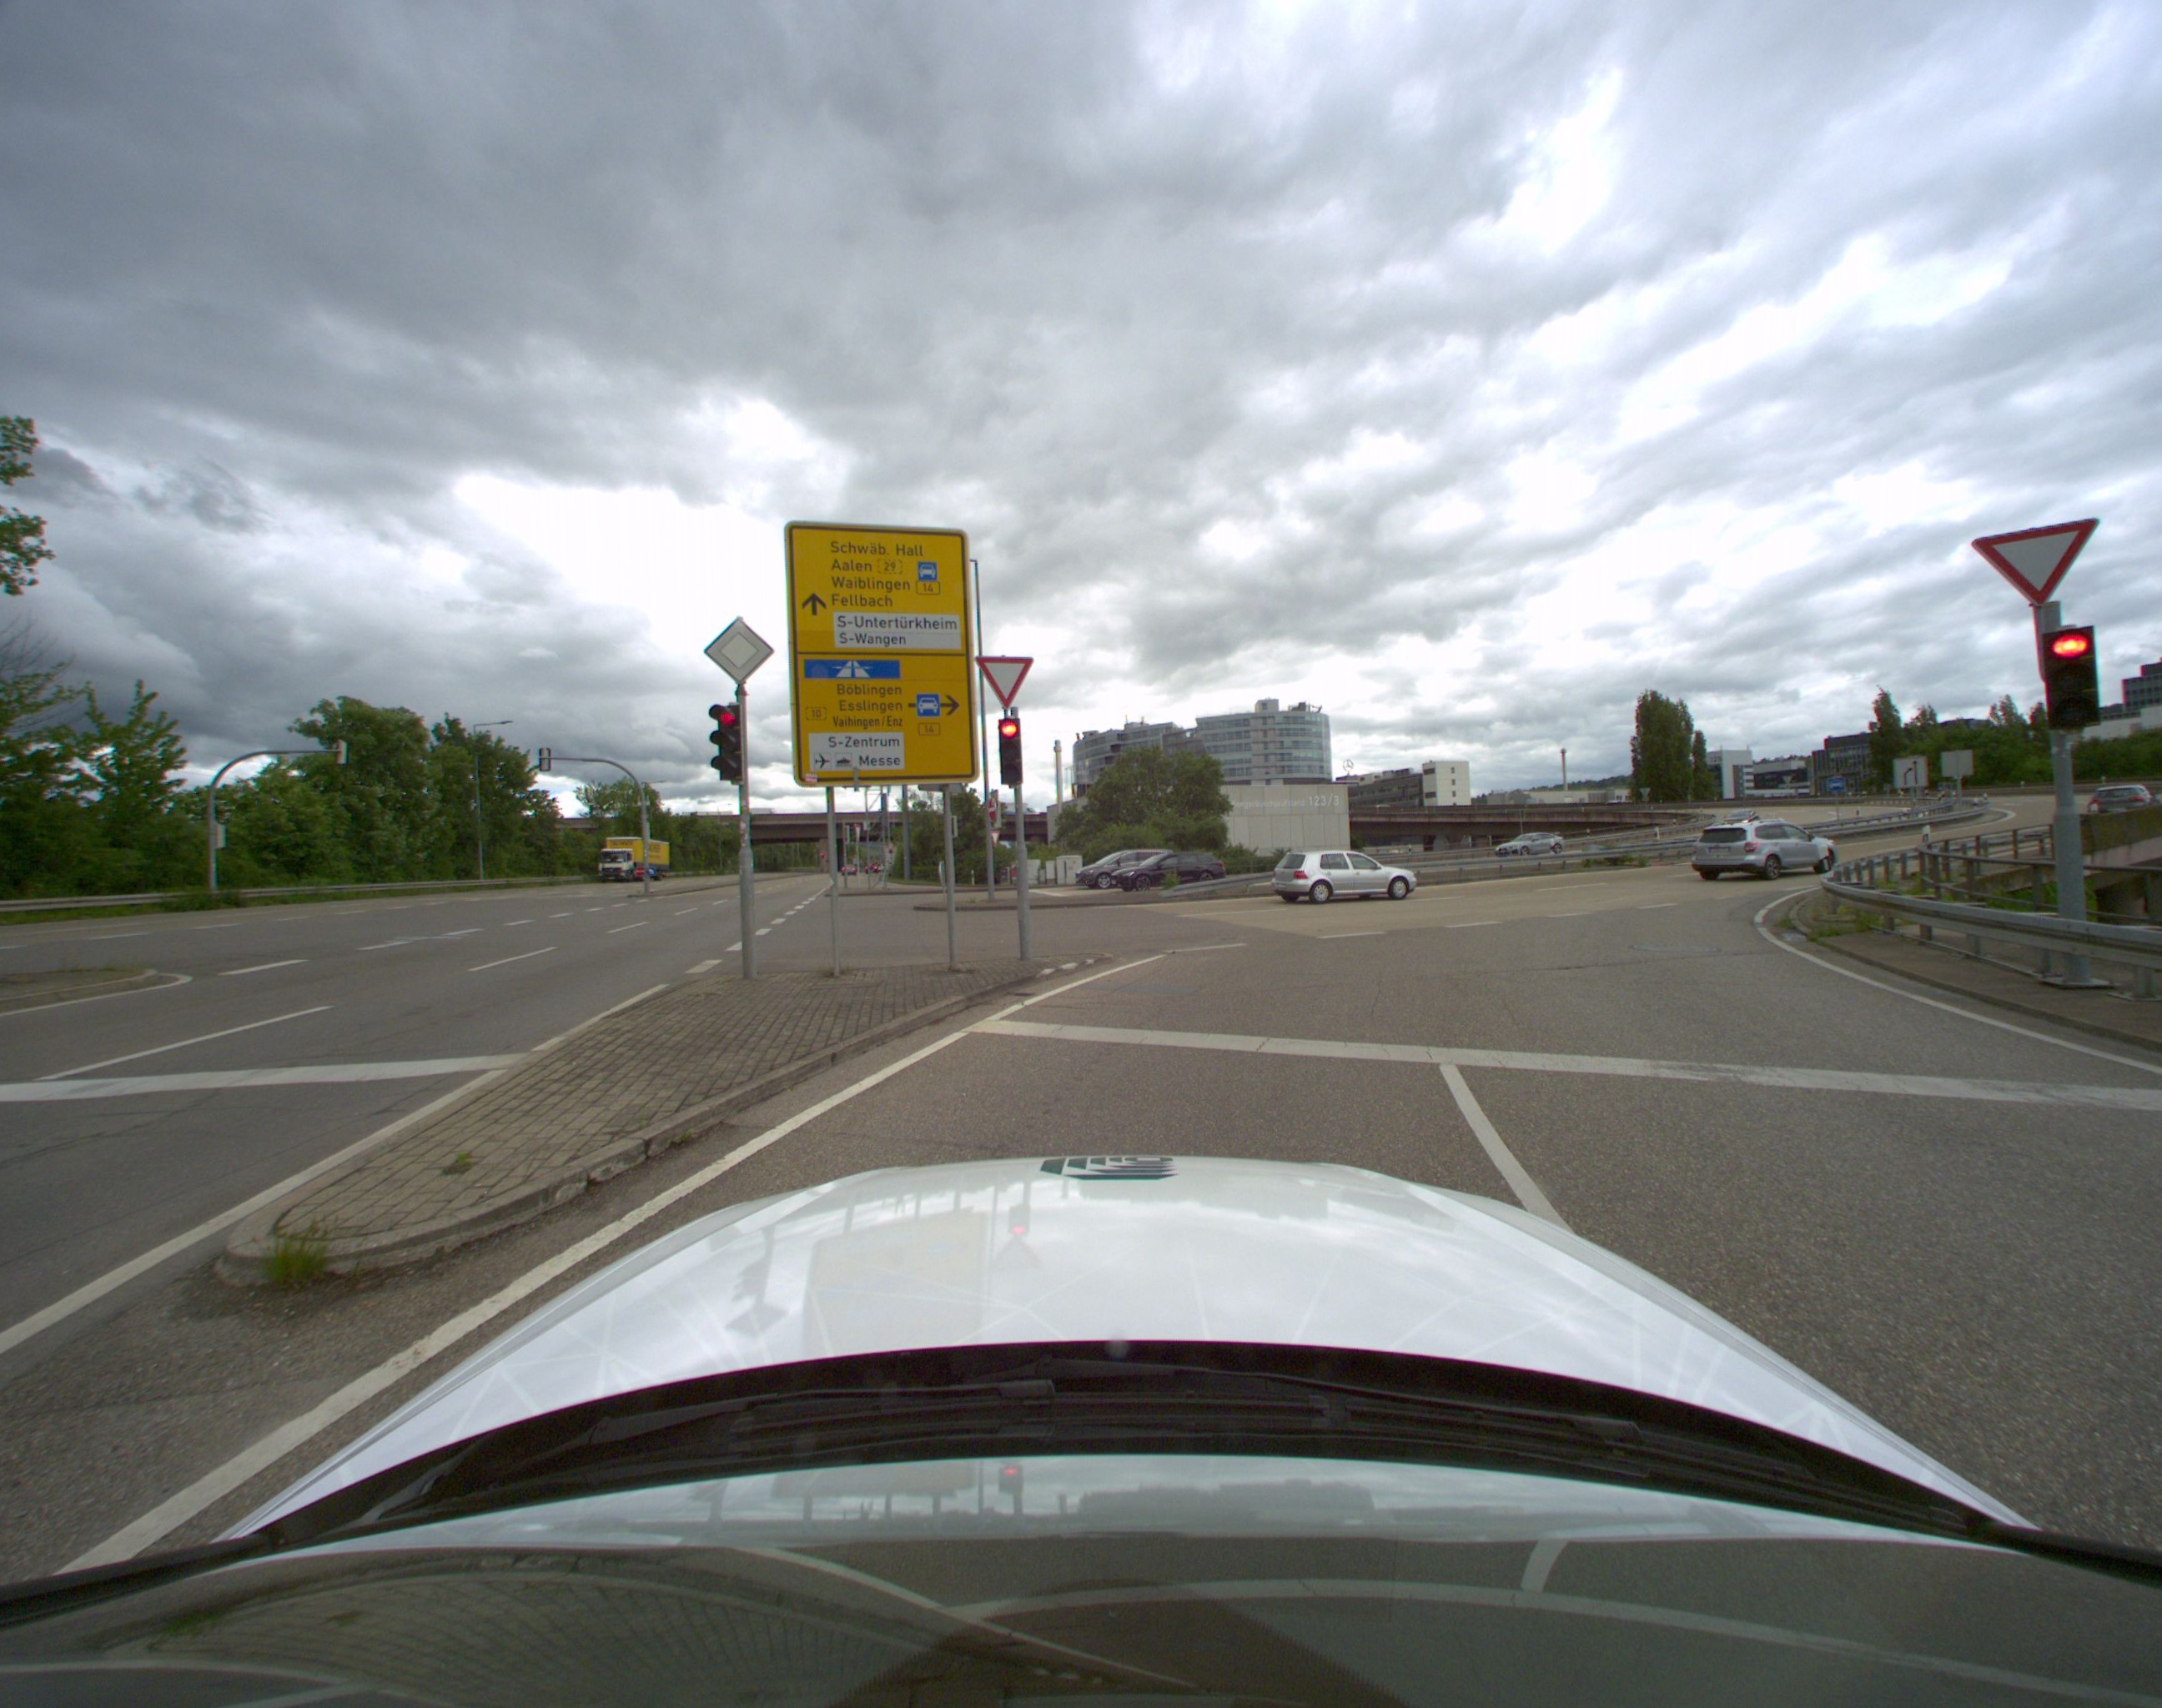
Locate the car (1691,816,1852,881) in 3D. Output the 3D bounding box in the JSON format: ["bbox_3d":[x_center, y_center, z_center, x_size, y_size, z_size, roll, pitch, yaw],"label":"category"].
[{"bbox_3d":[20.436,-0.194,24.092,4.560,1.737,1.717,-2,0,-23],"label":"car"}]

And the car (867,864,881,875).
[{"bbox_3d":[-30.808,2.356,121.259,1.995,1.464,4.092,0,-2,-12],"label":"car"}]

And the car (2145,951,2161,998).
[{"bbox_3d":[42.065,4.484,30.516,4.006,1.534,1.812,-3,1,-25],"label":"car"}]

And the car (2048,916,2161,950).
[{"bbox_3d":[54.895,4.185,43.553,1.832,1.354,3.827,-3,1,-29],"label":"car"}]

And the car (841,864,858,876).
[{"bbox_3d":[-30.009,2.129,105.441,1.997,1.442,4.089,0,-2,-15],"label":"car"}]

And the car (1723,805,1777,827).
[{"bbox_3d":[51.736,-2.914,62.978,4.005,1.421,1.898,-5,3,-29],"label":"car"}]

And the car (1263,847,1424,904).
[{"bbox_3d":[7.383,0.565,22.985,4.062,1.400,1.720,-2,0,-17],"label":"car"}]

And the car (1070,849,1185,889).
[{"bbox_3d":[2.026,0.636,35.975,4.689,1.571,1.945,-1,1,-17],"label":"car"}]

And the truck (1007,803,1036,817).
[{"bbox_3d":[-10.707,-7.910,146.844,5.033,2.321,2.004,-1,0,6],"label":"truck"}]

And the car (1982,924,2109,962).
[{"bbox_3d":[48.154,4.404,40.730,1.832,1.354,3.827,-3,1,-29],"label":"car"}]

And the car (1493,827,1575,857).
[{"bbox_3d":[28.583,-0.741,51.388,4.749,1.662,1.902,2,0,-22],"label":"car"}]

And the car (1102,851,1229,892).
[{"bbox_3d":[3.330,0.647,32.125,4.620,1.457,1.943,-1,1,-19],"label":"car"}]

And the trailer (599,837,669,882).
[{"bbox_3d":[-43.778,0.493,80.230,2.874,4.084,11.376,1,0,-13],"label":"trailer"}]

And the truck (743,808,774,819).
[{"bbox_3d":[-65.623,-8.293,165.738,5.602,2.163,2.000,-1,0,0],"label":"truck"}]

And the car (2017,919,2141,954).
[{"bbox_3d":[52.197,4.269,42.662,1.832,1.354,3.827,-3,1,-29],"label":"car"}]

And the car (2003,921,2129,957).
[{"bbox_3d":[50.310,4.316,41.682,1.832,1.354,3.827,-3,1,-29],"label":"car"}]

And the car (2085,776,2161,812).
[{"bbox_3d":[47.265,-2.715,36.882,4.259,1.461,1.712,-3,0,-32],"label":"car"}]

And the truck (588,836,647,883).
[{"bbox_3d":[-42.495,0.485,74.838,2.874,4.084,6.459,1,0,-13],"label":"truck"}]
